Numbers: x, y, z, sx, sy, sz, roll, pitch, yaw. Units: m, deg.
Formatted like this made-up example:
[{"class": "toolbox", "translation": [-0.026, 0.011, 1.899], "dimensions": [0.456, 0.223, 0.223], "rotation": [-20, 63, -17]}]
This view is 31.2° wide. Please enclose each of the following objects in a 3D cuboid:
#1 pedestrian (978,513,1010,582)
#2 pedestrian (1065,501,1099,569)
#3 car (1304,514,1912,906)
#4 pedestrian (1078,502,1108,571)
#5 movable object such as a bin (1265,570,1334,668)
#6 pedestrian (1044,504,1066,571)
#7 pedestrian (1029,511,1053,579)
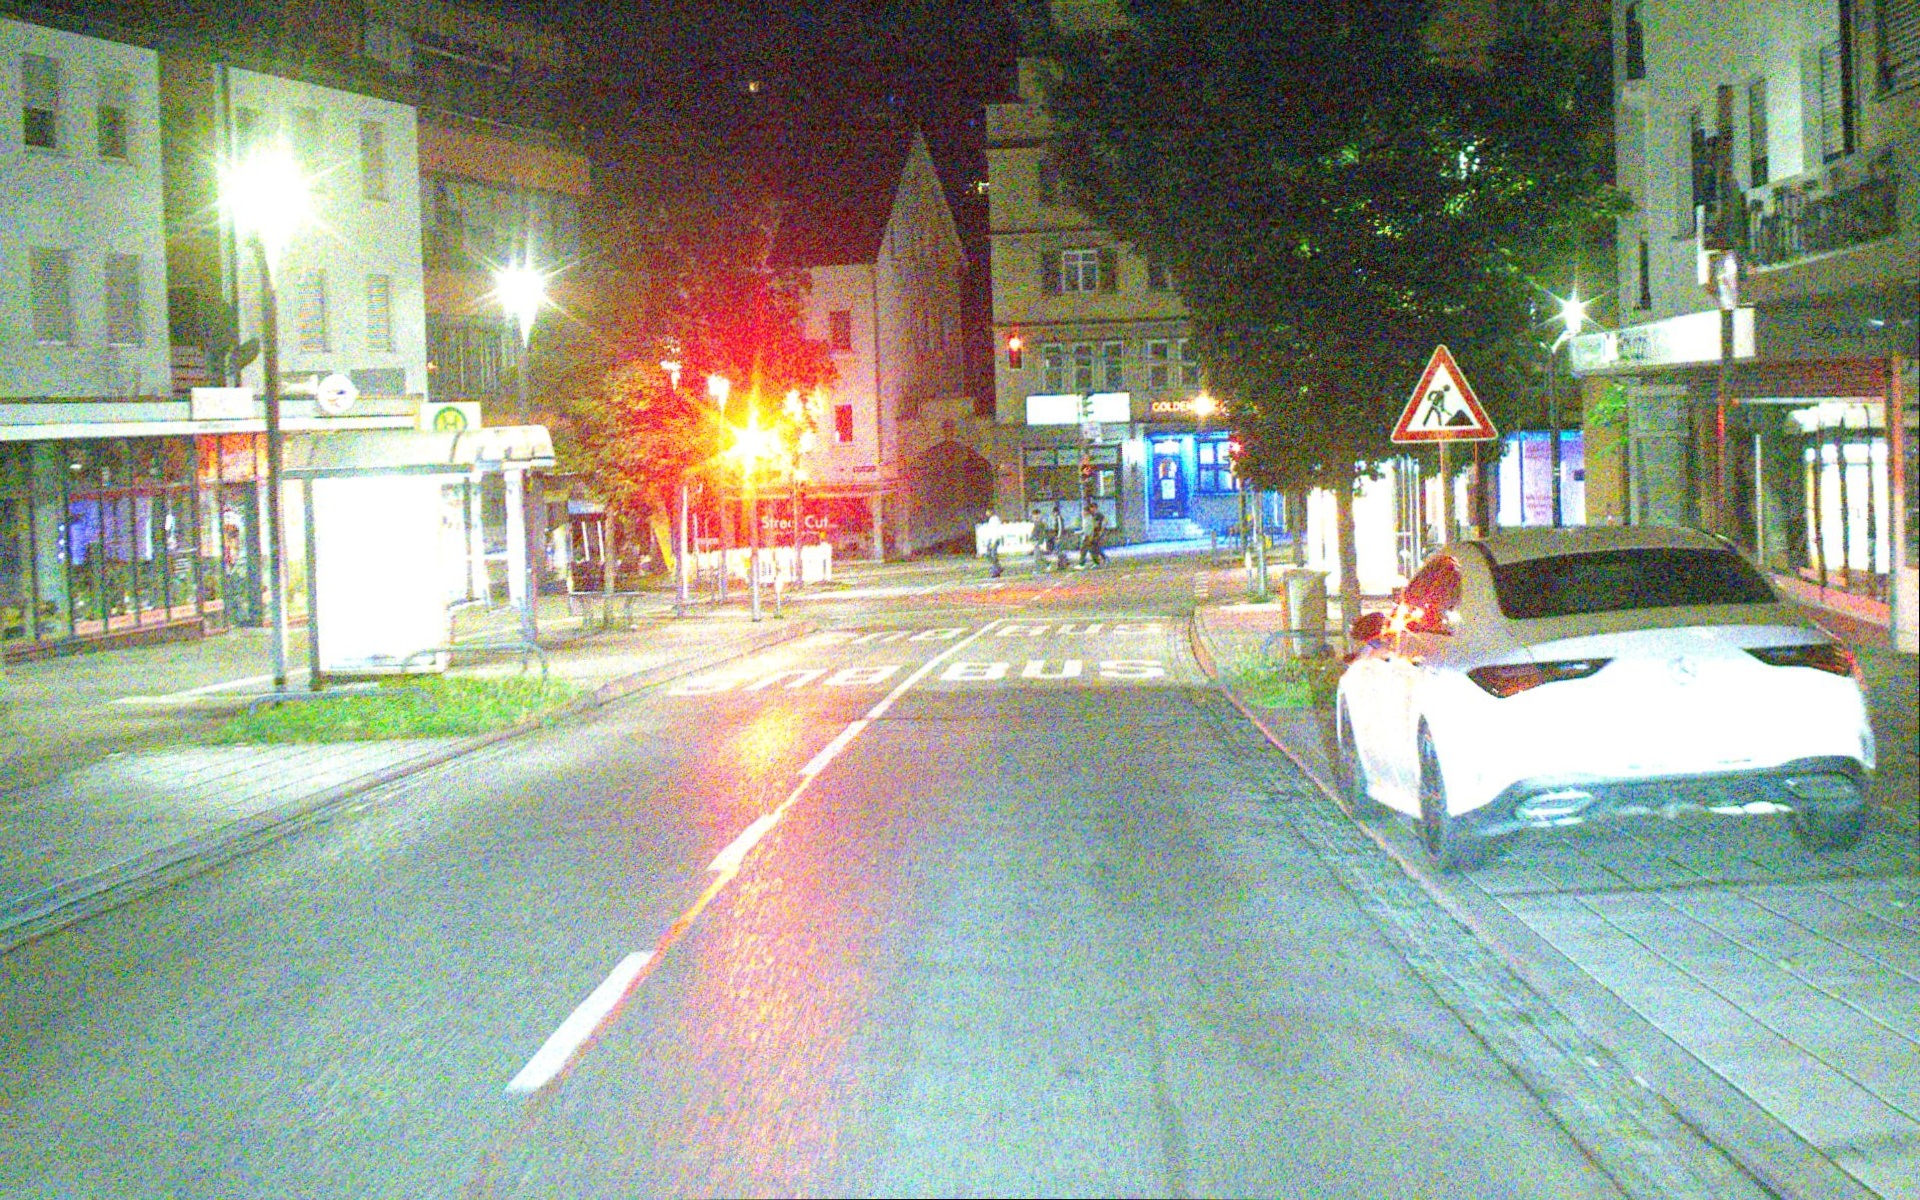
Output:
[{"class": "pedestrian", "translation": [0.898, -1.381, 90.596], "dimensions": [0.716, 1.789, 0.569], "rotation": [-1, 0, 11]}, {"class": "pedestrian", "translation": [3.240, -1.716, 91.487], "dimensions": [0.567, 1.789, 0.718], "rotation": [-1, 0, -31]}, {"class": "car", "translation": [2.778, 0.400, 15.816], "dimensions": [1.857, 1.437, 4.594], "rotation": [-3, 1, 0]}, {"class": "pedestrian", "translation": [3.526, -1.673, 90.844], "dimensions": [0.735, 1.789, 0.718], "rotation": [-1, 0, 4]}, {"class": "movable object such as a bin", "translation": [3.285, 0.184, 33.275], "dimensions": [0.524, 0.934, 0.629], "rotation": [-1, 0, -7]}, {"class": "pedestrian", "translation": [2.592, -1.699, 93.795], "dimensions": [0.567, 1.789, 0.718], "rotation": [-1, 0, -1]}, {"class": "pedestrian", "translation": [2.165, -1.457, 91.811], "dimensions": [0.567, 1.789, 0.718], "rotation": [-1, 0, -4]}]
